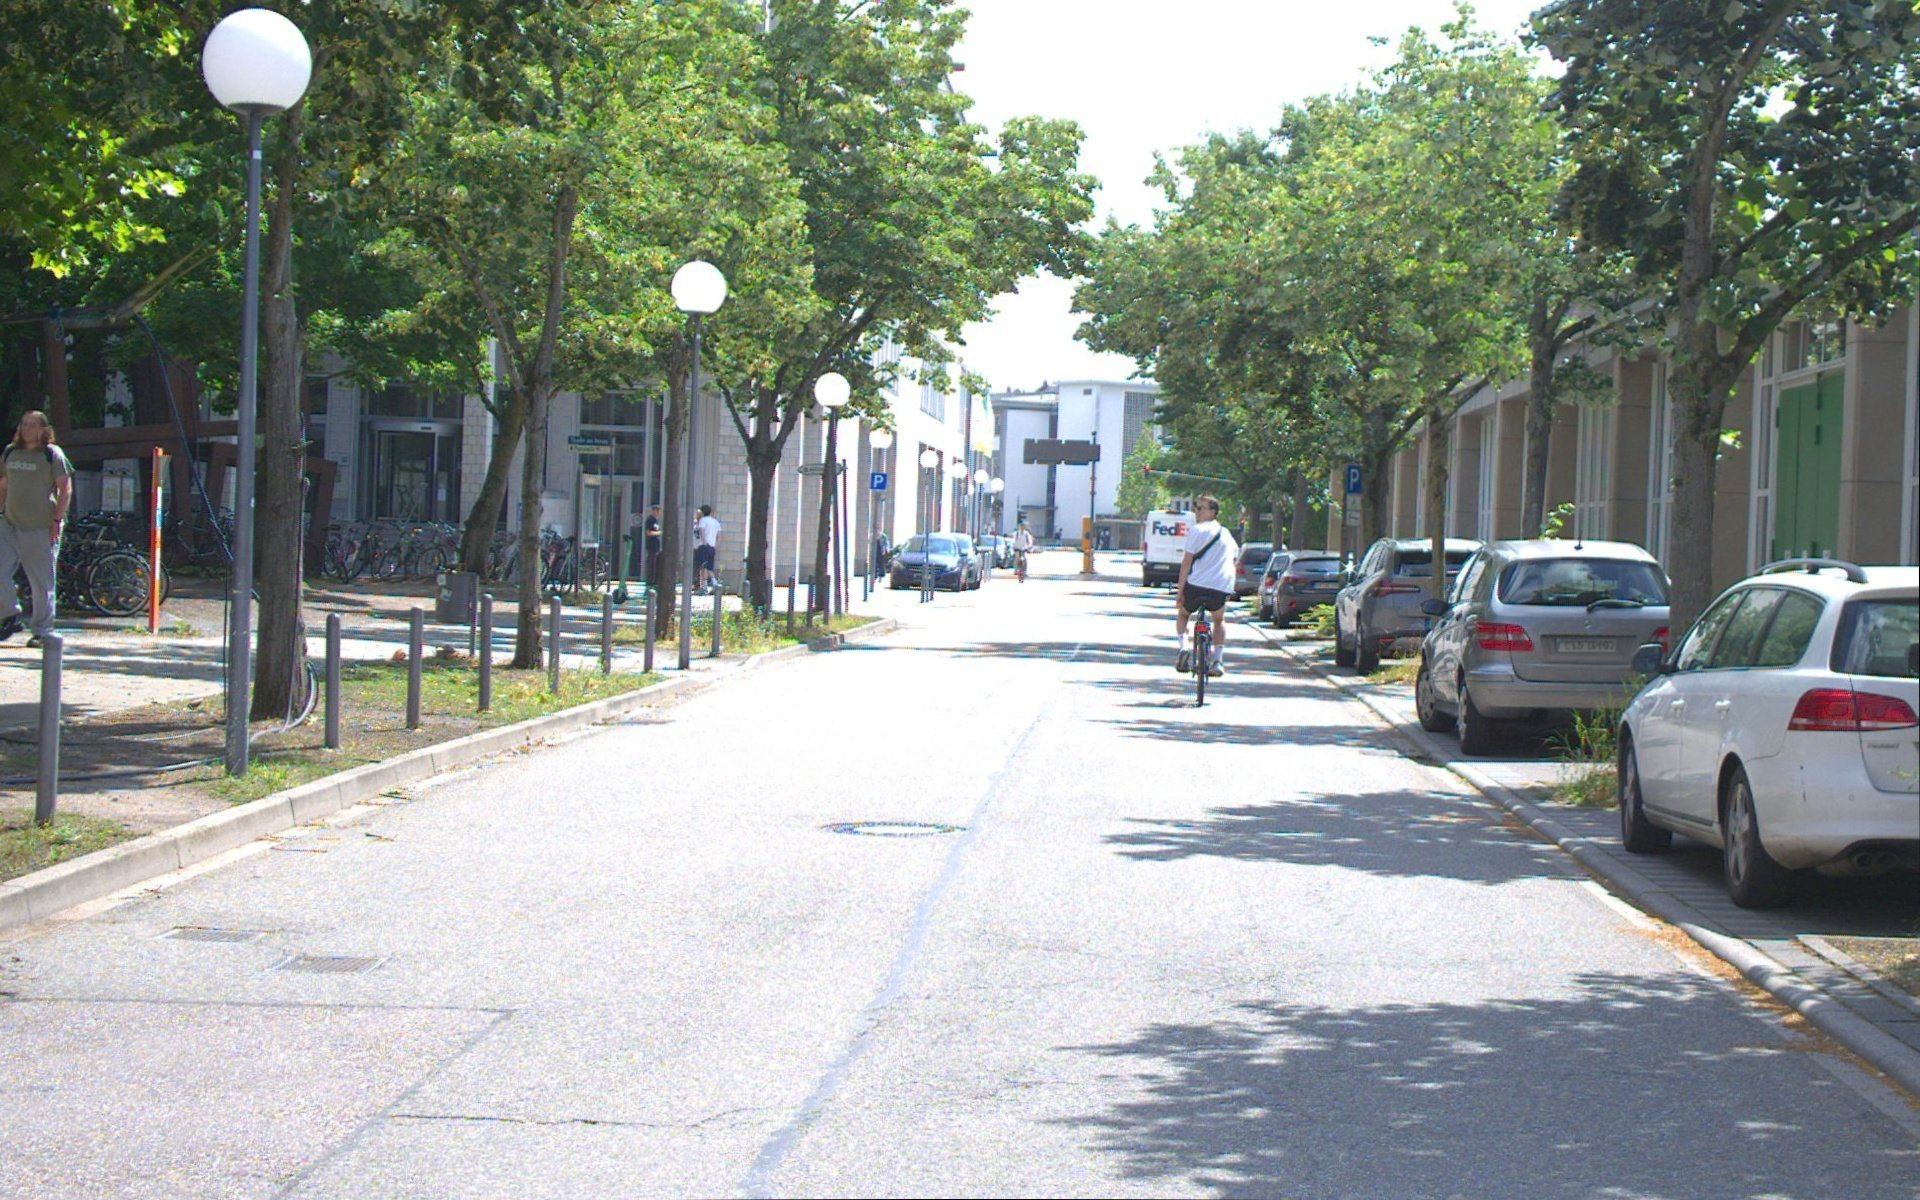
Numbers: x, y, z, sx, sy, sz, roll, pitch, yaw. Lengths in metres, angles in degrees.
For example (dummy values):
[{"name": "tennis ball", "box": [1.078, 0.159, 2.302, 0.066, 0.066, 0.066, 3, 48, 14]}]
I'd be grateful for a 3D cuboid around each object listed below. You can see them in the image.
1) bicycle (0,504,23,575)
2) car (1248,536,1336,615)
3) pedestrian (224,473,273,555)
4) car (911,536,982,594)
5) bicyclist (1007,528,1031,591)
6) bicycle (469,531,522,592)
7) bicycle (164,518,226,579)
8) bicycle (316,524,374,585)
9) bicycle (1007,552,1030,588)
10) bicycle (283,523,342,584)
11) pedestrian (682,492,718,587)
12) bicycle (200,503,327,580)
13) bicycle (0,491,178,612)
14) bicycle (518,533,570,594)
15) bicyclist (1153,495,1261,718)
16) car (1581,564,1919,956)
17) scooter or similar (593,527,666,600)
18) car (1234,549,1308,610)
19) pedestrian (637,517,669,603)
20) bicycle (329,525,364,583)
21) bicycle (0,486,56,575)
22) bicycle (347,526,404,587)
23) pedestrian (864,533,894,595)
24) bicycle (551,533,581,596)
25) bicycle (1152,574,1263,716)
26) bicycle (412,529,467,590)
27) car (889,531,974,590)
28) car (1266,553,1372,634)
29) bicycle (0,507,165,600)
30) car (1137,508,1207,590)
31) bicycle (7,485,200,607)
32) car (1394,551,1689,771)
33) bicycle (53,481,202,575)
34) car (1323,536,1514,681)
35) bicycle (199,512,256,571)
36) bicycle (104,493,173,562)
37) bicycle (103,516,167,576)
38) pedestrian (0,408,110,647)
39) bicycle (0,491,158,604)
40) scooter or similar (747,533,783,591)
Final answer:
[{"name": "bicycle", "box": [-14.837, -0.929, 48.942, 2.725, 0.999, 0.882, 2, 1, -39]}, {"name": "car", "box": [6.902, -0.526, 71.832, 1.616, 1.533, 3.779, 3, 1, 3]}, {"name": "pedestrian", "box": [-14.780, -1.789, 71.399, 0.635, 1.656, 0.692, 4, 1, 45]}, {"name": "car", "box": [-0.347, -0.964, 95.196, 1.631, 1.479, 4.177, 3, 1, 4]}, {"name": "bicyclist", "box": [1.915, -1.317, 111.204, 0.711, 2.007, 1.019, 1, 1, 1]}, {"name": "bicycle", "box": [-8.681, -0.726, 64.291, 0.552, 1.083, 1.973, 4, 1, 3]}, {"name": "bicycle", "box": [-14.314, -0.964, 64.385, 0.552, 1.083, 1.973, 4, 1, 3]}, {"name": "bicycle", "box": [-11.508, -0.846, 64.353, 0.552, 1.083, 1.973, 4, 1, 3]}, {"name": "bicycle", "box": [1.893, -0.961, 111.135, 0.685, 1.126, 1.888, 2, 1, 1]}, {"name": "bicycle", "box": [-12.116, -0.871, 64.362, 0.552, 1.083, 1.973, 4, 1, 3]}, {"name": "pedestrian", "box": [-5.391, -1.255, 71.377, 0.412, 1.935, 0.663, 3, 1, -26]}, {"name": "bicycle", "box": [-11.890, -1.002, 58.716, 2.014, 1.249, 0.587, 1, 2, -29]}, {"name": "bicycle", "box": [-9.918, -0.552, 38.789, 2.053, 1.230, 0.809, 3, 1, -14]}, {"name": "bicycle", "box": [-7.741, -0.690, 64.041, 0.552, 1.083, 1.973, 4, 1, 3]}, {"name": "bicyclist", "box": [2.294, 0.054, 32.037, 0.873, 2.007, 0.849, 3, 1, 2]}, {"name": "car", "box": [4.080, 0.614, 15.634, 1.725, 1.462, 4.672, 2, 1, 1]}, {"name": "scooter or similar", "box": [-5.559, -0.610, 57.878, 0.340, 1.171, 1.325, 4, 1, 38]}, {"name": "car", "box": [8.504, -0.578, 94.271, 1.859, 1.568, 4.000, 1, 1, 4]}, {"name": "pedestrian", "box": [-6.449, -0.841, 72.257, 0.441, 1.769, 0.451, 3, 1, -27]}, {"name": "bicycle", "box": [-10.654, -0.804, 59.731, 0.475, 0.962, 1.657, 3, 1, -8]}, {"name": "bicycle", "box": [-14.192, -1.026, 47.954, 2.899, 1.216, 0.882, 2, 1, -39]}, {"name": "bicycle", "box": [-10.940, -0.821, 64.385, 0.552, 1.083, 1.973, 4, 1, 3]}, {"name": "pedestrian", "box": [-2.271, -1.011, 96.169, 0.649, 1.695, 0.889, 3, 1, -7]}, {"name": "bicycle", "box": [-6.615, -0.604, 57.686, 0.381, 1.022, 1.816, 3, 1, -9]}, {"name": "bicycle", "box": [2.287, 0.392, 32.058, 0.882, 1.195, 2.749, 3, 1, 2]}, {"name": "bicycle", "box": [-9.775, -0.768, 64.655, 0.552, 1.083, 1.973, 4, 1, 3]}, {"name": "car", "box": [-0.722, -1.013, 90.083, 1.766, 1.423, 4.234, 3, 1, 5]}, {"name": "car", "box": [6.877, -0.147, 66.235, 1.781, 1.471, 4.461, 1, 1, 3]}, {"name": "bicycle", "box": [-10.746, -0.564, 41.370, 2.146, 1.005, 0.678, 3, 1, -26]}, {"name": "car", "box": [6.971, -1.698, 113.495, 2.084, 2.531, 4.315, 4, 1, 3]}, {"name": "bicycle", "box": [-9.891, -0.630, 39.733, 2.053, 1.230, 0.809, 5, 1, -14]}, {"name": "car", "box": [4.522, 0.416, 27.289, 1.704, 1.568, 4.140, 2, 1, 2]}, {"name": "bicycle", "box": [-13.938, -1.201, 57.577, 2.283, 1.445, 0.607, 3, 1, -30]}, {"name": "car", "box": [5.607, 0.101, 42.530, 1.822, 1.658, 4.584, 1, 0, 1]}, {"name": "bicycle", "box": [-13.174, -1.045, 61.883, 0.475, 1.029, 1.850, 3, 1, 4]}, {"name": "bicycle", "box": [-15.306, -1.353, 64.102, 0.525, 1.248, 2.381, 2, 1, 4]}, {"name": "bicycle", "box": [-15.495, -1.012, 64.587, 0.552, 1.083, 1.973, 4, 1, 3]}, {"name": "pedestrian", "box": [-7.893, -0.618, 29.046, 0.918, 1.948, 0.891, 5, 1, 13]}, {"name": "bicycle", "box": [-9.640, -0.570, 37.256, 1.772, 1.128, 0.459, 3, 1, -14]}, {"name": "scooter or similar", "box": [-4.192, -0.816, 73.884, 0.454, 1.219, 1.548, 3, 1, 7]}]
